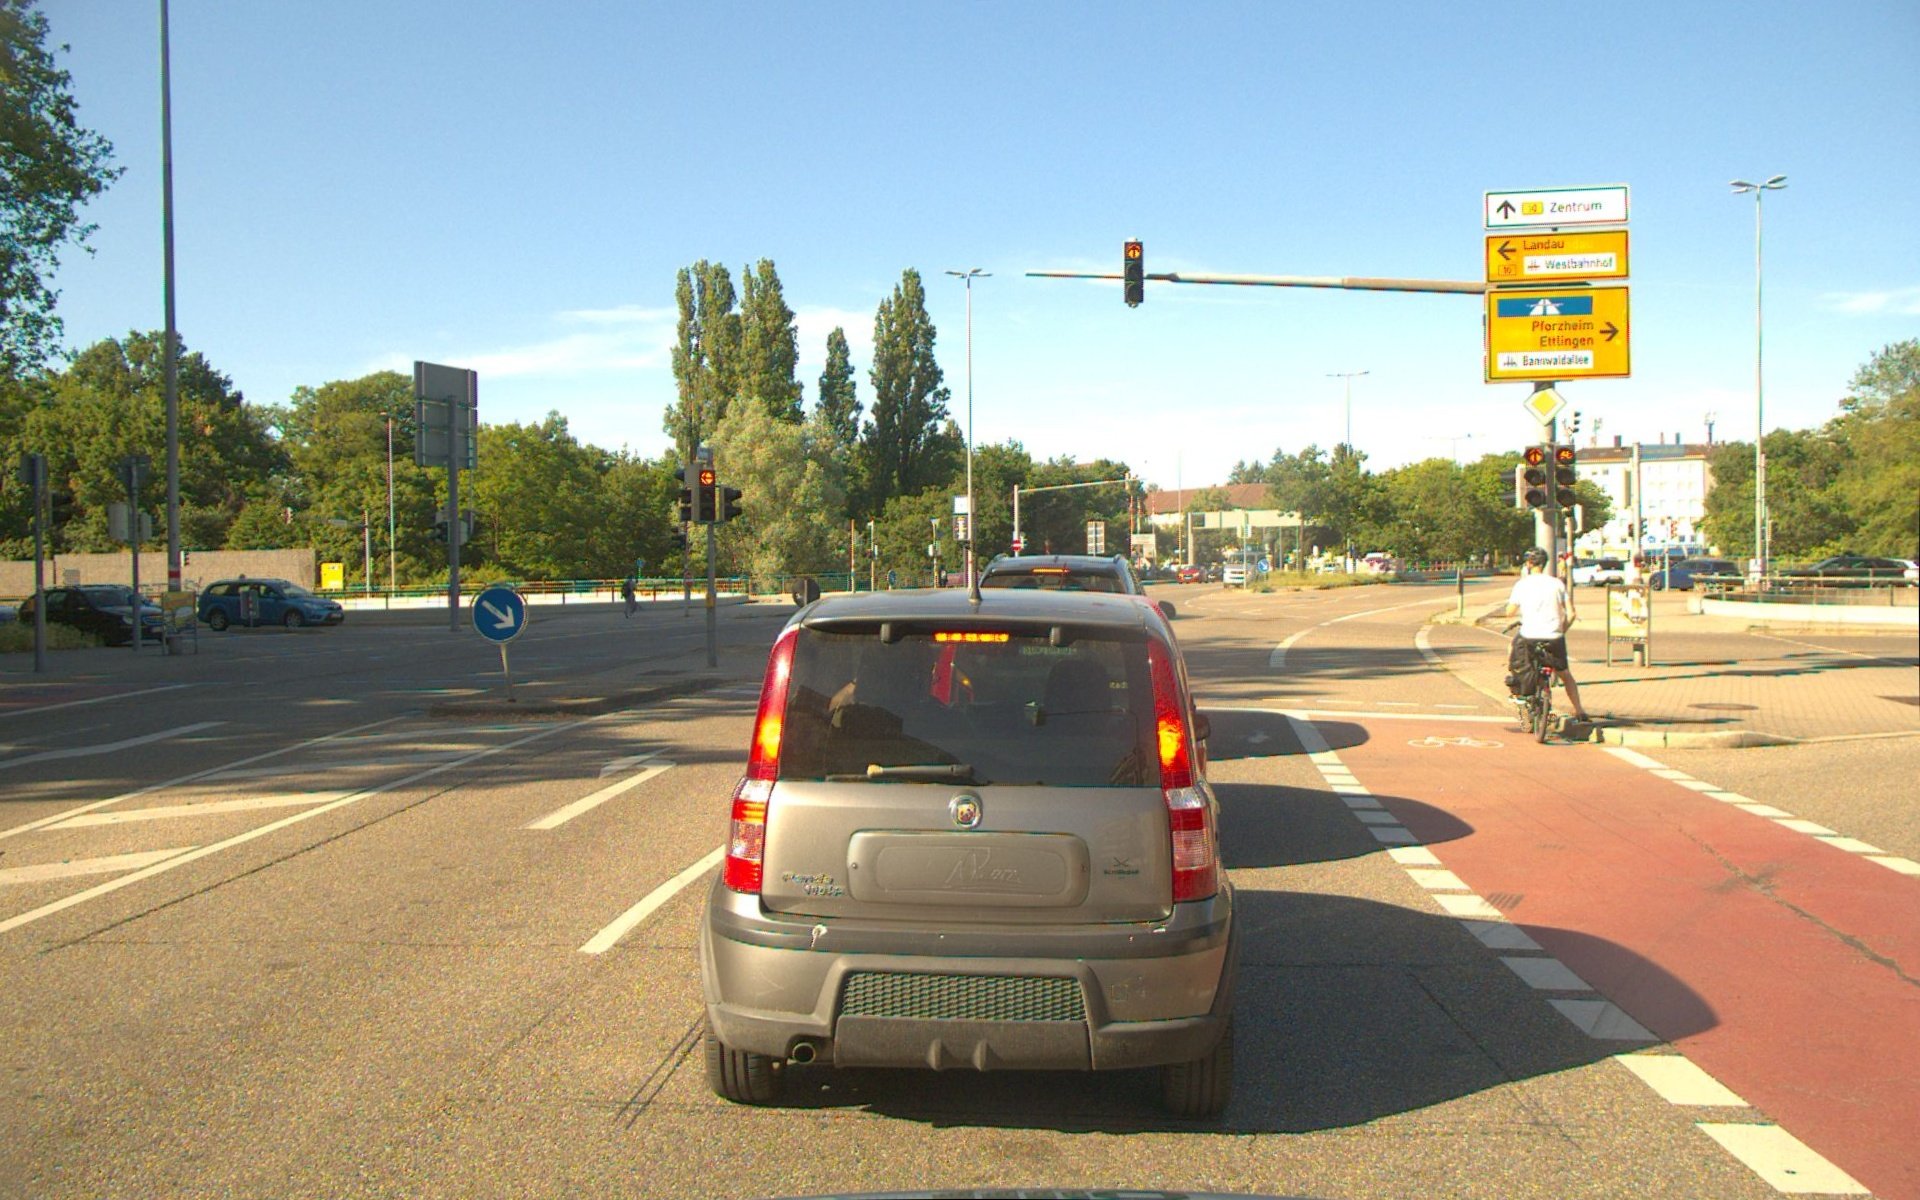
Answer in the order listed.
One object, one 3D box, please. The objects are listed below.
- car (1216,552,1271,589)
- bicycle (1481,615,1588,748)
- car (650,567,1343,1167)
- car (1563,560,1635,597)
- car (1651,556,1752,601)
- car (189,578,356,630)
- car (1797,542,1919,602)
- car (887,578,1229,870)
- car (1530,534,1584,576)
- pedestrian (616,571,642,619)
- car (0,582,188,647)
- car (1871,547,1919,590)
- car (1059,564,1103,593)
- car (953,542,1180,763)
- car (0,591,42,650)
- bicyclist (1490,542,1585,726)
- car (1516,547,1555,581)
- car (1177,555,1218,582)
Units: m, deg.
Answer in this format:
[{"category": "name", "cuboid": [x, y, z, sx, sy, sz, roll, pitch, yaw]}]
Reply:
[{"category": "car", "cuboid": [15.839, -1.616, 92.184, 1.972, 1.887, 4.884, 0, -2, 23]}, {"category": "bicycle", "cuboid": [5.639, 0.744, 16.157, 0.783, 1.130, 2.401, 1, 1, 24]}, {"category": "car", "cuboid": [0.186, 0.668, 6.353, 1.782, 1.515, 4.002, 2, 1, 3]}, {"category": "car", "cuboid": [32.984, -1.077, 85.516, 1.954, 1.781, 3.996, 0, -1, -4]}, {"category": "car", "cuboid": [34.211, -0.980, 76.466, 1.975, 1.887, 4.877, 0, -1, -8]}, {"category": "car", "cuboid": [-20.708, 0.109, 49.852, 4.341, 1.464, 1.828, -1, 1, 11]}, {"category": "car", "cuboid": [33.200, -0.995, 60.939, 3.922, 2.049, 1.991, -1, -2, 38]}, {"category": "car", "cuboid": [0.587, 0.638, 10.716, 1.782, 1.505, 4.001, 1, 0, 2]}, {"category": "car", "cuboid": [41.132, -3.076, 113.821, 2.216, 2.653, 4.866, -1, -2, 36]}, {"category": "pedestrian", "cuboid": [-11.490, -0.160, 57.380, 0.673, 1.565, 1.365, 0, -3, -3]}, {"category": "car", "cuboid": [-21.015, 0.351, 39.914, 4.345, 1.464, 1.826, -1, 1, 22]}, {"category": "car", "cuboid": [38.811, -1.278, 65.916, 1.973, 1.691, 3.959, -1, 1, -31]}, {"category": "car", "cuboid": [8.515, -1.472, 116.028, 1.971, 1.887, 4.432, 0, -2, 19]}, {"category": "car", "cuboid": [1.175, 0.390, 16.104, 1.829, 1.821, 4.418, 1, 1, 8]}, {"category": "car", "cuboid": [-26.411, 0.559, 43.261, 4.345, 1.464, 1.826, -1, 1, 22]}, {"category": "bicyclist", "cuboid": [5.664, 0.308, 16.200, 0.783, 1.734, 1.085, 1, 1, 24]}, {"category": "car", "cuboid": [33.908, -2.097, 97.392, 1.953, 1.781, 3.999, 0, -2, 22]}, {"category": "car", "cuboid": [18.427, -2.425, 128.372, 1.972, 1.887, 4.884, 0, -2, 23]}]
